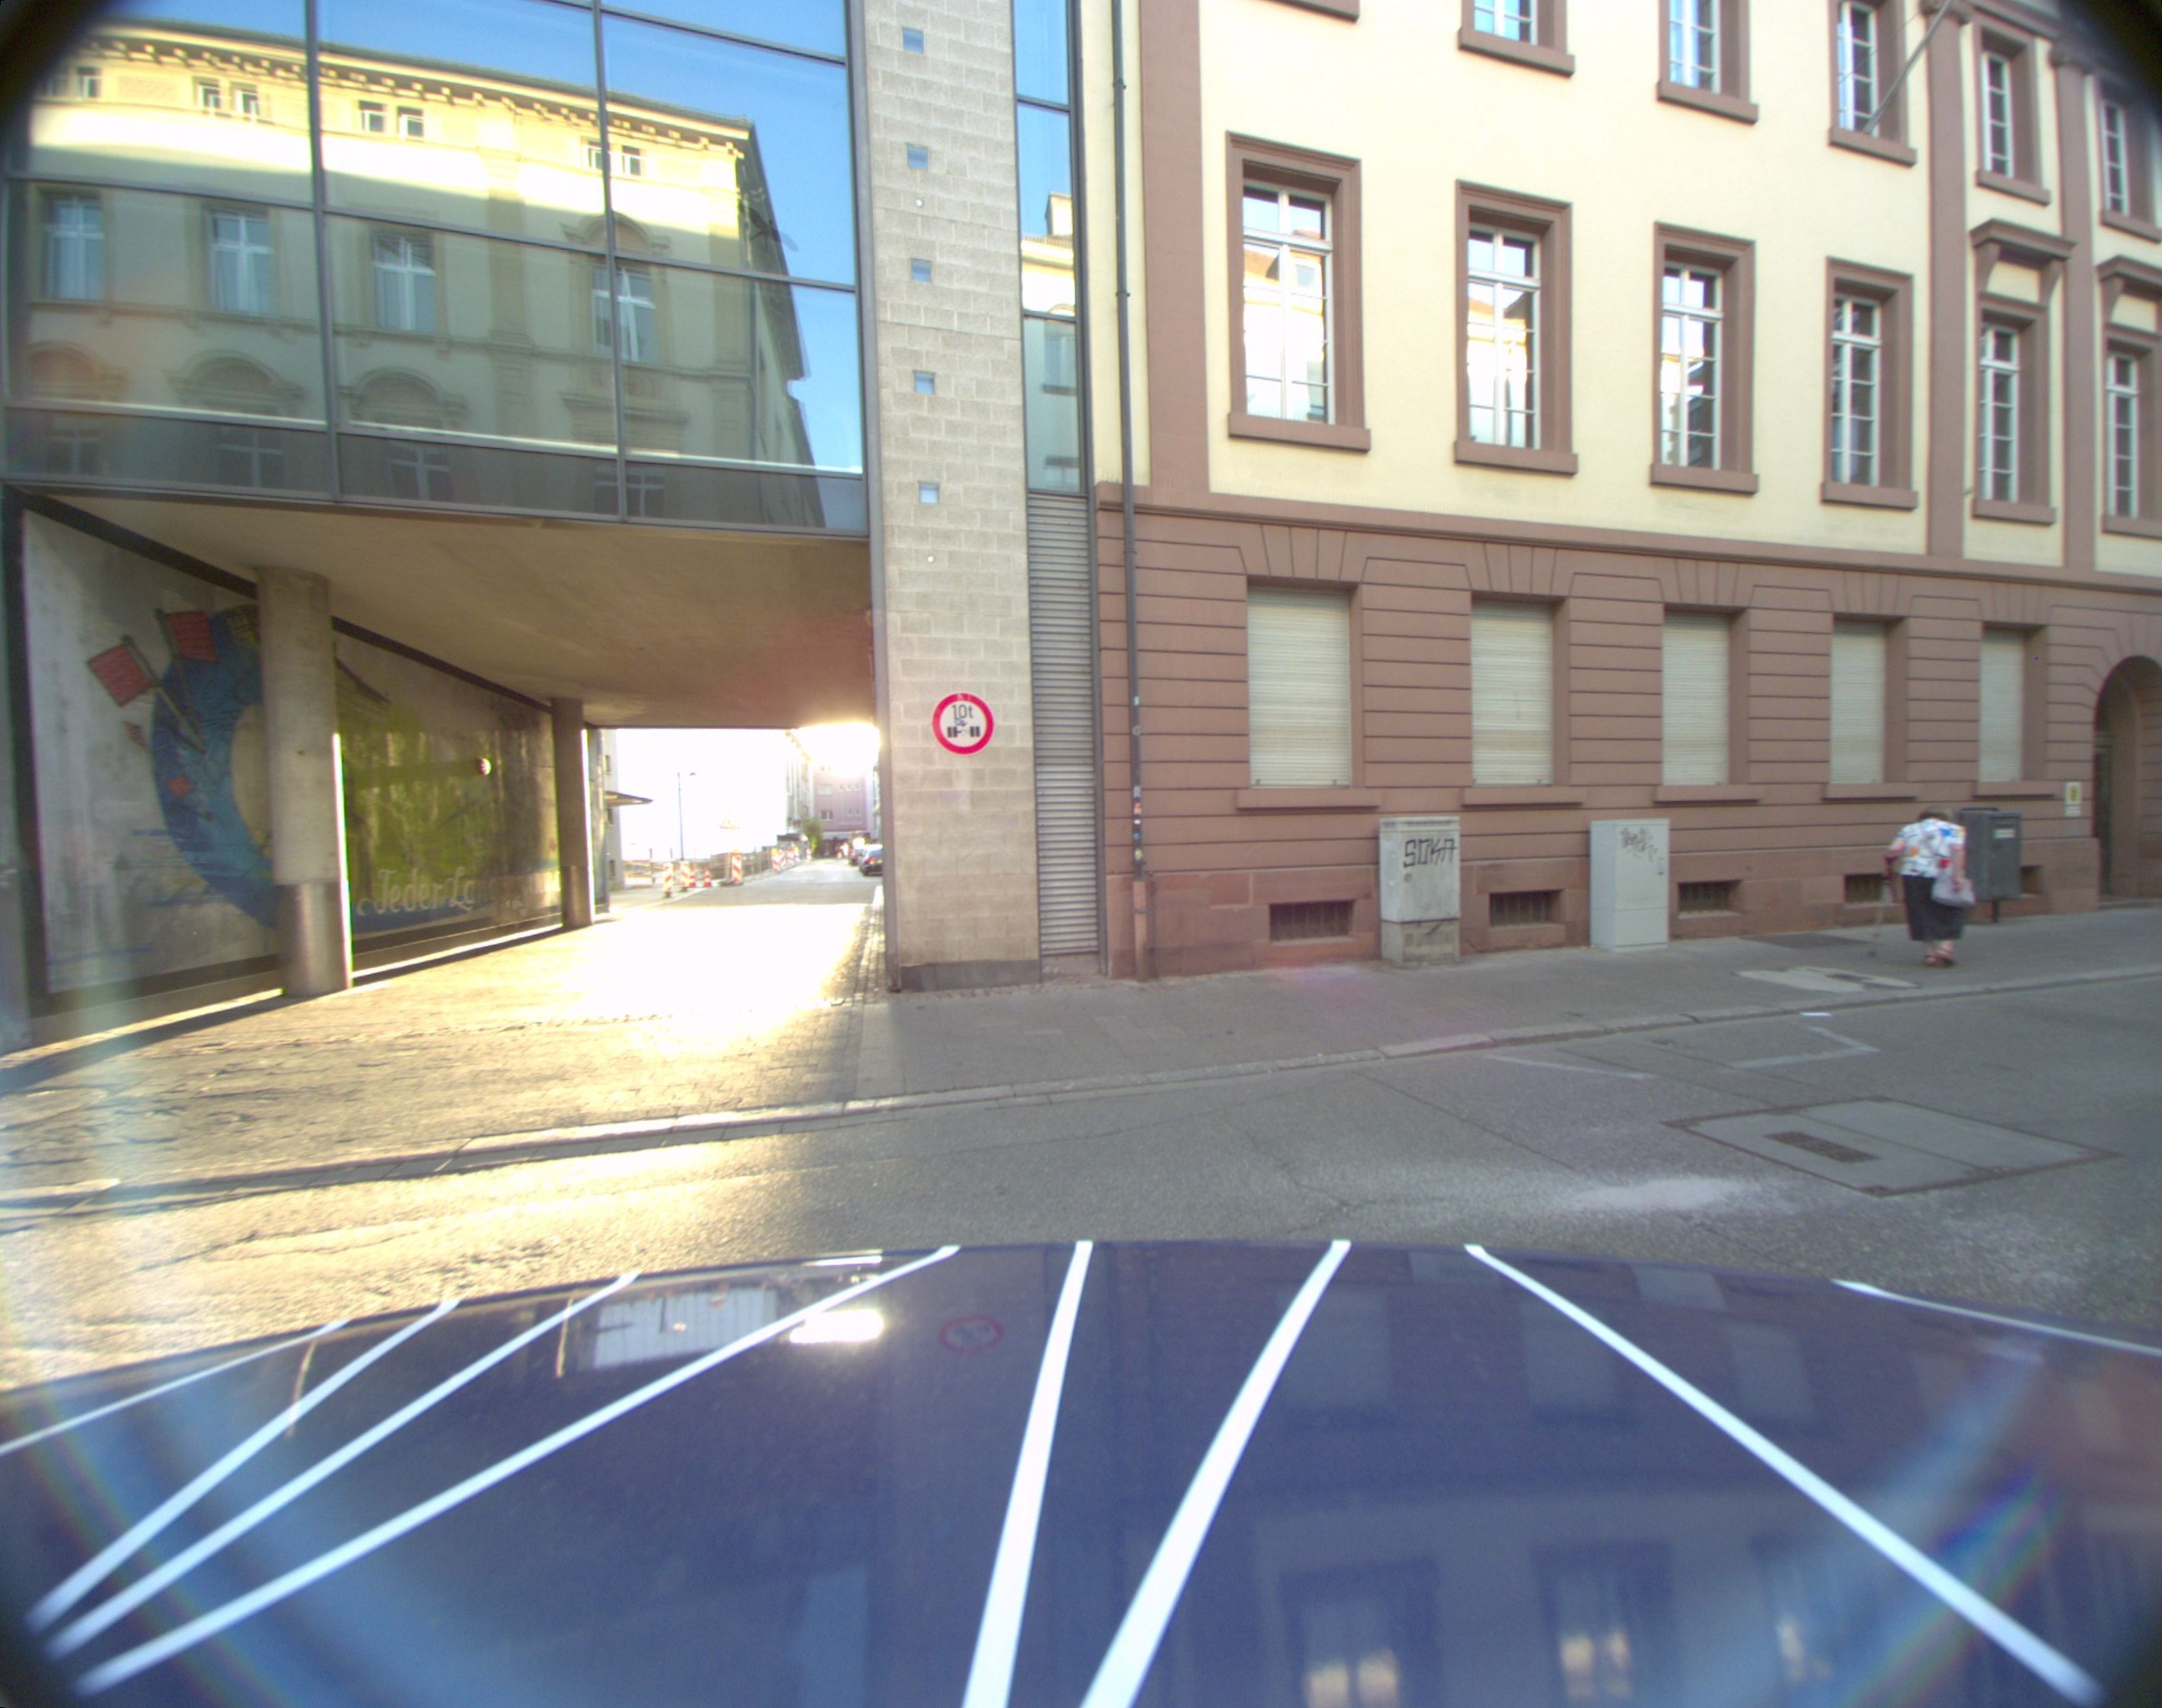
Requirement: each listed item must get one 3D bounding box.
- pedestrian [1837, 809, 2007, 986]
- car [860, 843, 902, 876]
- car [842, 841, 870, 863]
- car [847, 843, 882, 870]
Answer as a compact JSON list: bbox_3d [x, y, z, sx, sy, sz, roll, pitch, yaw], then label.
[{"bbox_3d":[8.461,0.405,7.673,0.931,1.662,0.811,-2,2,-15],"label":"pedestrian"},{"bbox_3d":[-9.969,0.246,37.753,1.603,1.484,3.438,-2,1,-21],"label":"car"},{"bbox_3d":[-16.421,-0.175,55.293,1.603,1.484,3.438,-2,1,-21],"label":"car"},{"bbox_3d":[-12.785,0.114,44.780,1.603,1.484,3.438,-2,1,-21],"label":"car"}]
